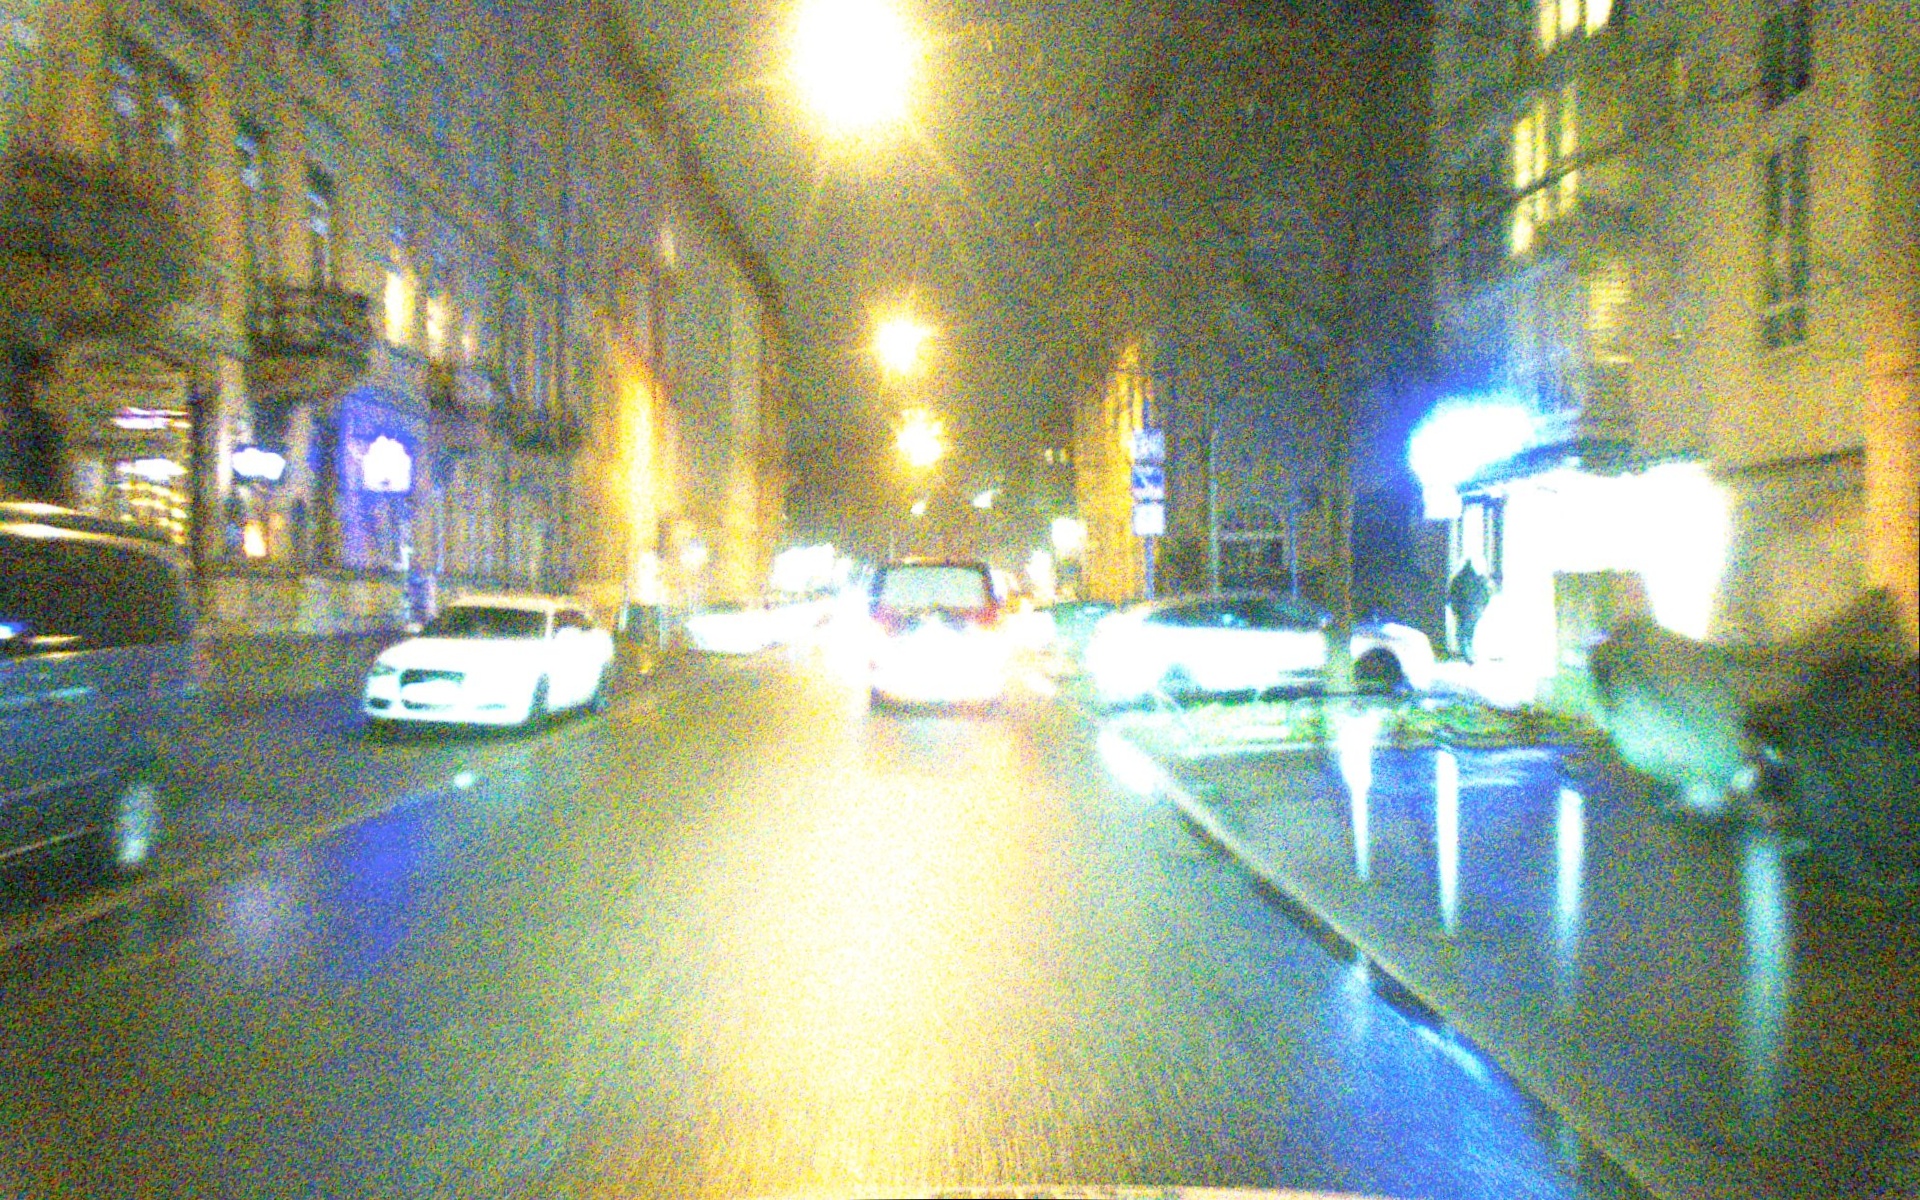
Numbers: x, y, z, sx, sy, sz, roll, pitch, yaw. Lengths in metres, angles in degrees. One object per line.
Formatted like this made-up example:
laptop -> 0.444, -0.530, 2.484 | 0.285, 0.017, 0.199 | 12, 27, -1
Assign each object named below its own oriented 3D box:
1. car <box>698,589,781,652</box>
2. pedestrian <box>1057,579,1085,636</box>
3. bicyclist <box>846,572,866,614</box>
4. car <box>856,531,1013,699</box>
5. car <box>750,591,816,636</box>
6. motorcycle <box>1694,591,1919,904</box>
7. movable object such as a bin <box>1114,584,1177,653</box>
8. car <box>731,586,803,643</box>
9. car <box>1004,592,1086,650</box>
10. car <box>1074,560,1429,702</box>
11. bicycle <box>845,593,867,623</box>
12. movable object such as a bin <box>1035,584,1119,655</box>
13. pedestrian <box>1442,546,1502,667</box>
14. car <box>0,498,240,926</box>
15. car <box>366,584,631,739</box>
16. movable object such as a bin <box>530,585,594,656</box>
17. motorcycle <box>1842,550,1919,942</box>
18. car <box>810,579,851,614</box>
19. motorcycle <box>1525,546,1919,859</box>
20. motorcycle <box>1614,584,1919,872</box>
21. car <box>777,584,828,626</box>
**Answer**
car -> -5.543, 0.489, 41.944 | 1.638, 1.517, 3.721 | 1, 0, -1
pedestrian -> 3.685, 0.232, 54.906 | 0.844, 1.819, 1.083 | -2, 1, 2
bicyclist -> -4.020, -0.262, 63.865 | 0.704, 1.583, 0.895 | -1, 0, -1
car -> -0.331, 0.162, 22.985 | 1.955, 2.084, 4.694 | 0, 1, -1
car -> -5.813, 0.419, 54.766 | 1.785, 1.414, 4.425 | -1, 0, -1
motorcycle -> 4.849, 0.630, 8.002 | 2.129, 1.341, 0.866 | -5, 0, -2
movable object such as a bin -> 3.955, 0.388, 35.249 | 1.281, 1.454, 1.051 | 0, 0, 8
car -> -5.717, 0.405, 49.393 | 1.738, 1.599, 4.134 | 0, 0, -1
car -> 2.270, 0.533, 45.228 | 1.953, 1.489, 4.416 | -1, 0, -1
car -> 3.879, 0.393, 22.503 | 4.422, 1.557, 1.780 | -4, 0, -2
bicycle -> -4.014, 0.303, 63.847 | 0.712, 1.091, 2.348 | -1, 0, -1
movable object such as a bin -> 2.453, 0.395, 34.817 | 1.327, 1.454, 1.185 | -1, 0, -37
pedestrian -> 7.889, 0.087, 25.485 | 0.688, 1.819, 0.624 | -2, 1, 2
car -> -5.154, 0.493, 7.008 | 1.955, 1.861, 5.206 | 0, 1, 0
car -> -5.247, 0.614, 19.482 | 1.731, 1.508, 4.772 | 3, 1, 0
movable object such as a bin -> -8.558, 0.423, 35.644 | 1.079, 1.479, 1.378 | -1, 0, -3
motorcycle -> 4.897, 0.514, 6.667 | 2.129, 1.574, 0.866 | -4, 0, -2
car -> -6.645, -0.175, 85.294 | 1.795, 1.747, 4.594 | 0, 0, -1
motorcycle -> 4.694, 0.575, 9.872 | 2.242, 1.615, 0.866 | -4, 0, -2
motorcycle -> 4.808, 0.638, 8.934 | 2.129, 1.341, 0.866 | -5, 0, -2
car -> -6.170, 0.171, 65.010 | 1.710, 1.616, 3.765 | 0, 0, -1
